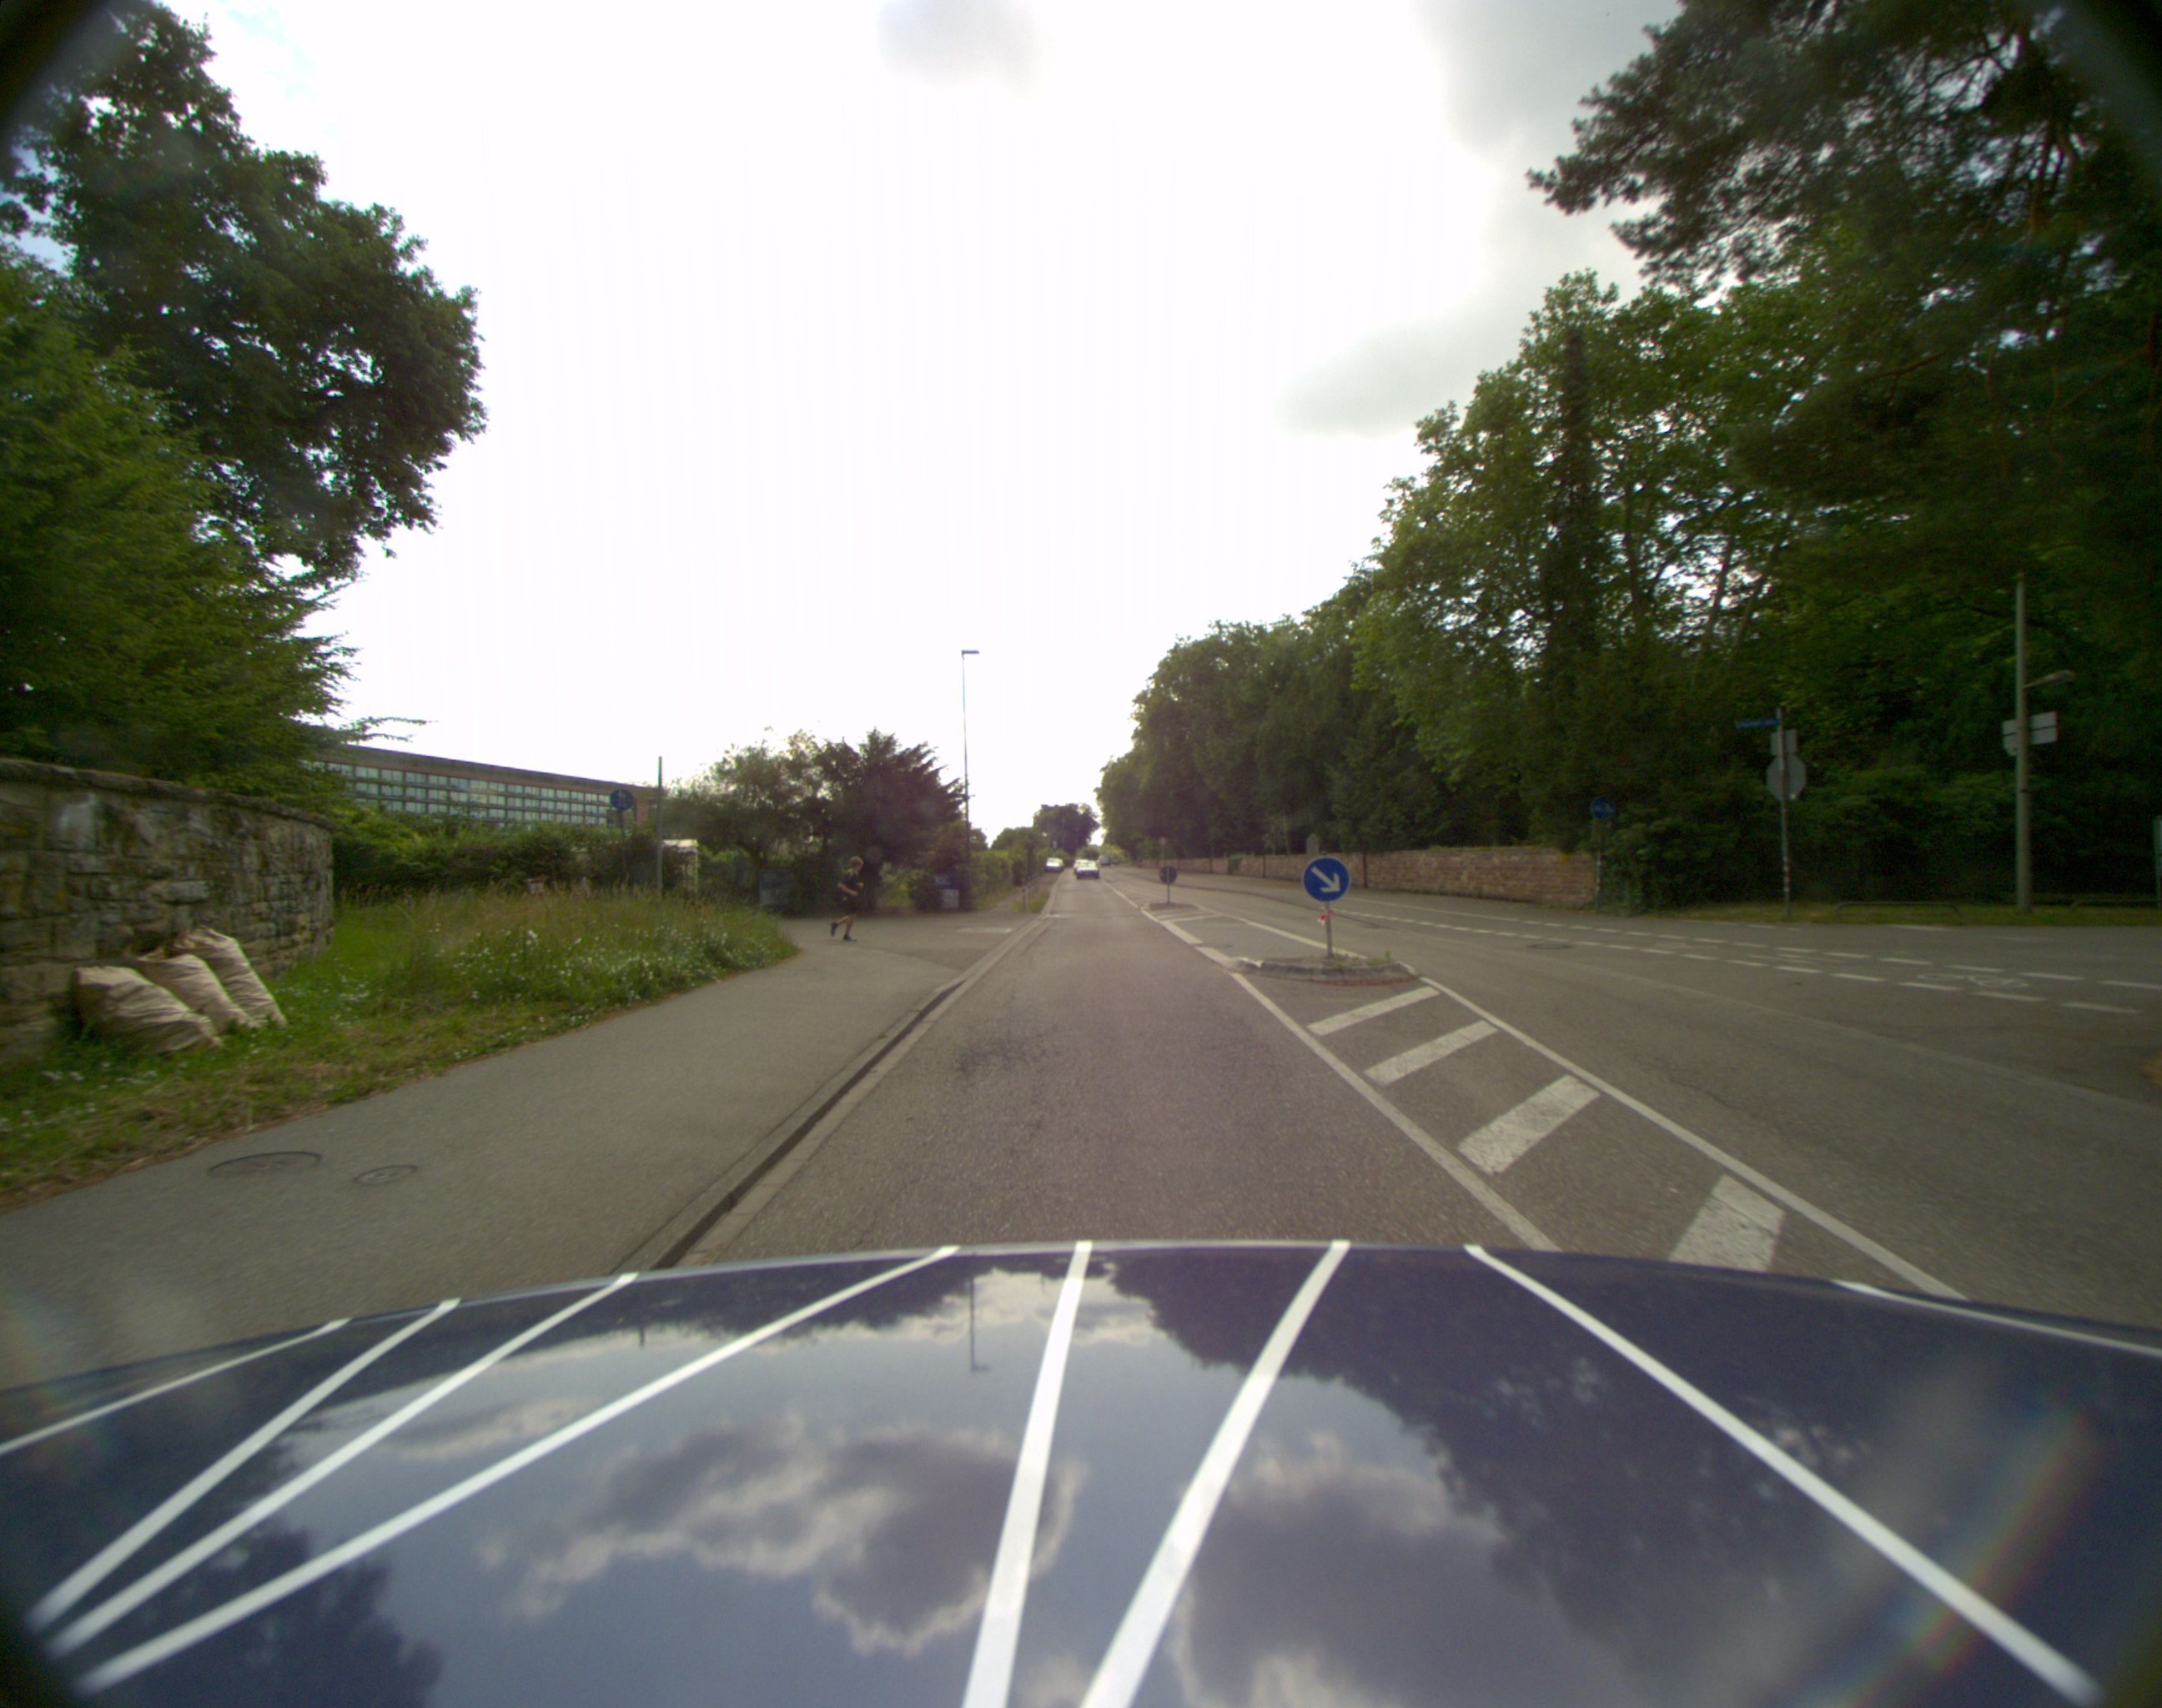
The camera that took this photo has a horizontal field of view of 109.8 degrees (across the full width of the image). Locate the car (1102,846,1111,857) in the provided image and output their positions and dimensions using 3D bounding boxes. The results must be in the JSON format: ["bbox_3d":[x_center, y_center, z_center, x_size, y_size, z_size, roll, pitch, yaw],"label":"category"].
[{"bbox_3d":[5.527,-0.501,164.215,1.998,2.220,4.375,0,1,1],"label":"car"}]

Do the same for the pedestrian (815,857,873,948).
[{"bbox_3d":[-4.424,0.882,14.209,0.831,1.641,0.626,1,1,18],"label":"pedestrian"}]

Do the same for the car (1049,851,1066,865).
[{"bbox_3d":[-2.784,0.487,92.075,1.799,1.652,4.001,-2,-1,1],"label":"car"}]

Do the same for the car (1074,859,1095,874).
[{"bbox_3d":[0.328,1.260,76.982,1.965,1.455,4.530,1,-1,-1],"label":"car"}]

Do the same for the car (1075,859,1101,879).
[{"bbox_3d":[0.551,1.220,61.189,1.965,1.455,4.530,-2,-2,0],"label":"car"}]

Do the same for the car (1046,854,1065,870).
[{"bbox_3d":[-2.778,0.846,83.064,1.799,1.652,4.001,-2,-1,1],"label":"car"}]
